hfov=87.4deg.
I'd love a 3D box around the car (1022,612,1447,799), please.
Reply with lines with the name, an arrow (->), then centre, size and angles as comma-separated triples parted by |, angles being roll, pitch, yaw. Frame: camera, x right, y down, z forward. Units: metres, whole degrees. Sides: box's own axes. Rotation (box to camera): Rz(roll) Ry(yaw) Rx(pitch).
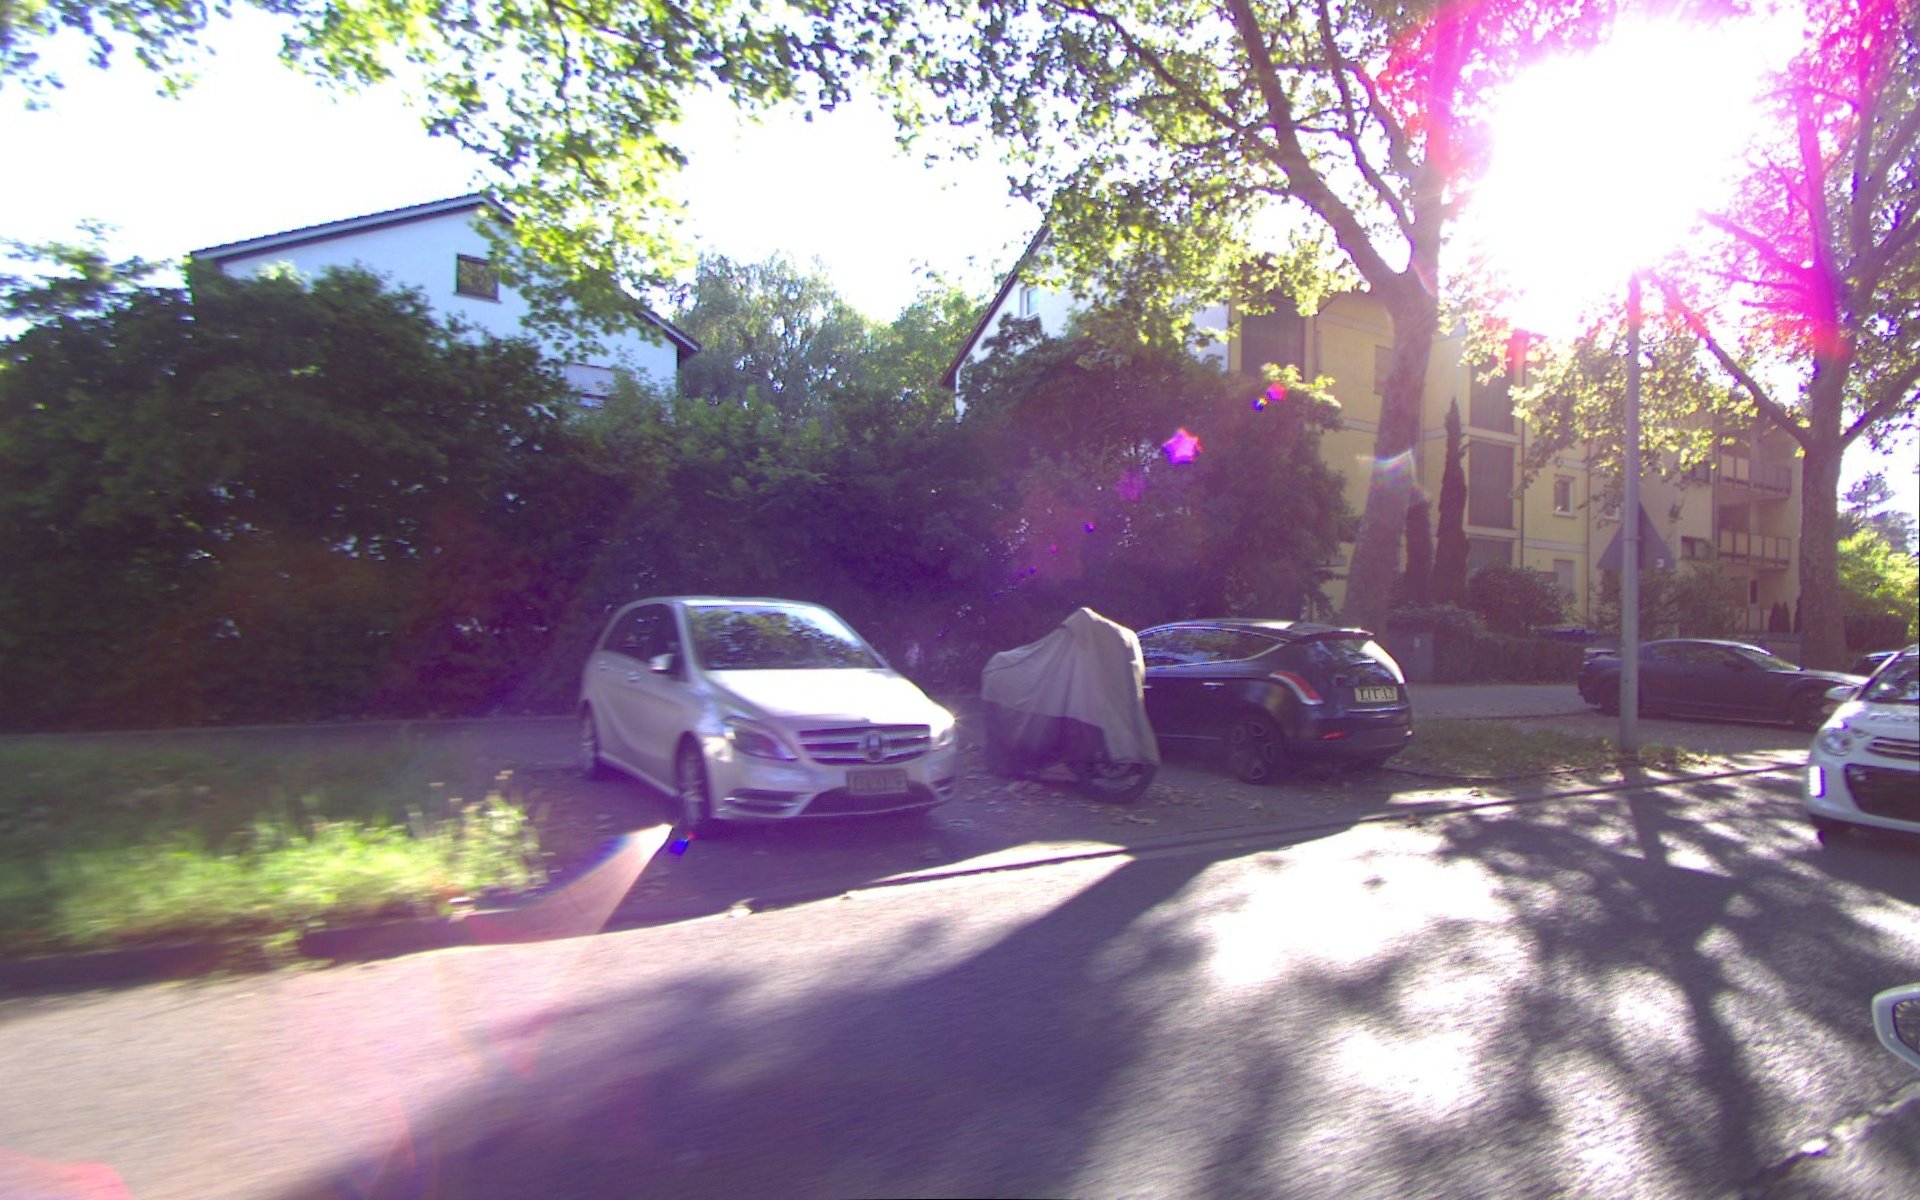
car -> 2.596, 0.902, 10.451 | 1.783, 1.526, 4.135 | 2, -1, -33

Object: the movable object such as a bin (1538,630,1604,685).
movable object such as a bin -> 15.933, 1.486, 26.198 | 0.942, 1.368, 1.180 | 2, -2, -30

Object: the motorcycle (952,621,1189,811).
motorcycle -> 0.869, 0.901, 8.736 | 0.642, 1.407, 2.369 | 2, -1, -35

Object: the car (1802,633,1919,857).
car -> 7.786, 1.012, 7.436 | 3.150, 1.478, 1.527 | 2, -1, -33

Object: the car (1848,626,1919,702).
car -> 22.866, 1.470, 22.458 | 1.651, 1.702, 4.224 | 2, -1, -30

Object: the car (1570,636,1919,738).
car -> 12.539, 1.301, 16.294 | 1.722, 1.370, 4.218 | 2, -2, -31

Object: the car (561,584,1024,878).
car -> -1.562, 0.751, 7.786 | 1.980, 1.605, 4.157 | 2, -1, -34
